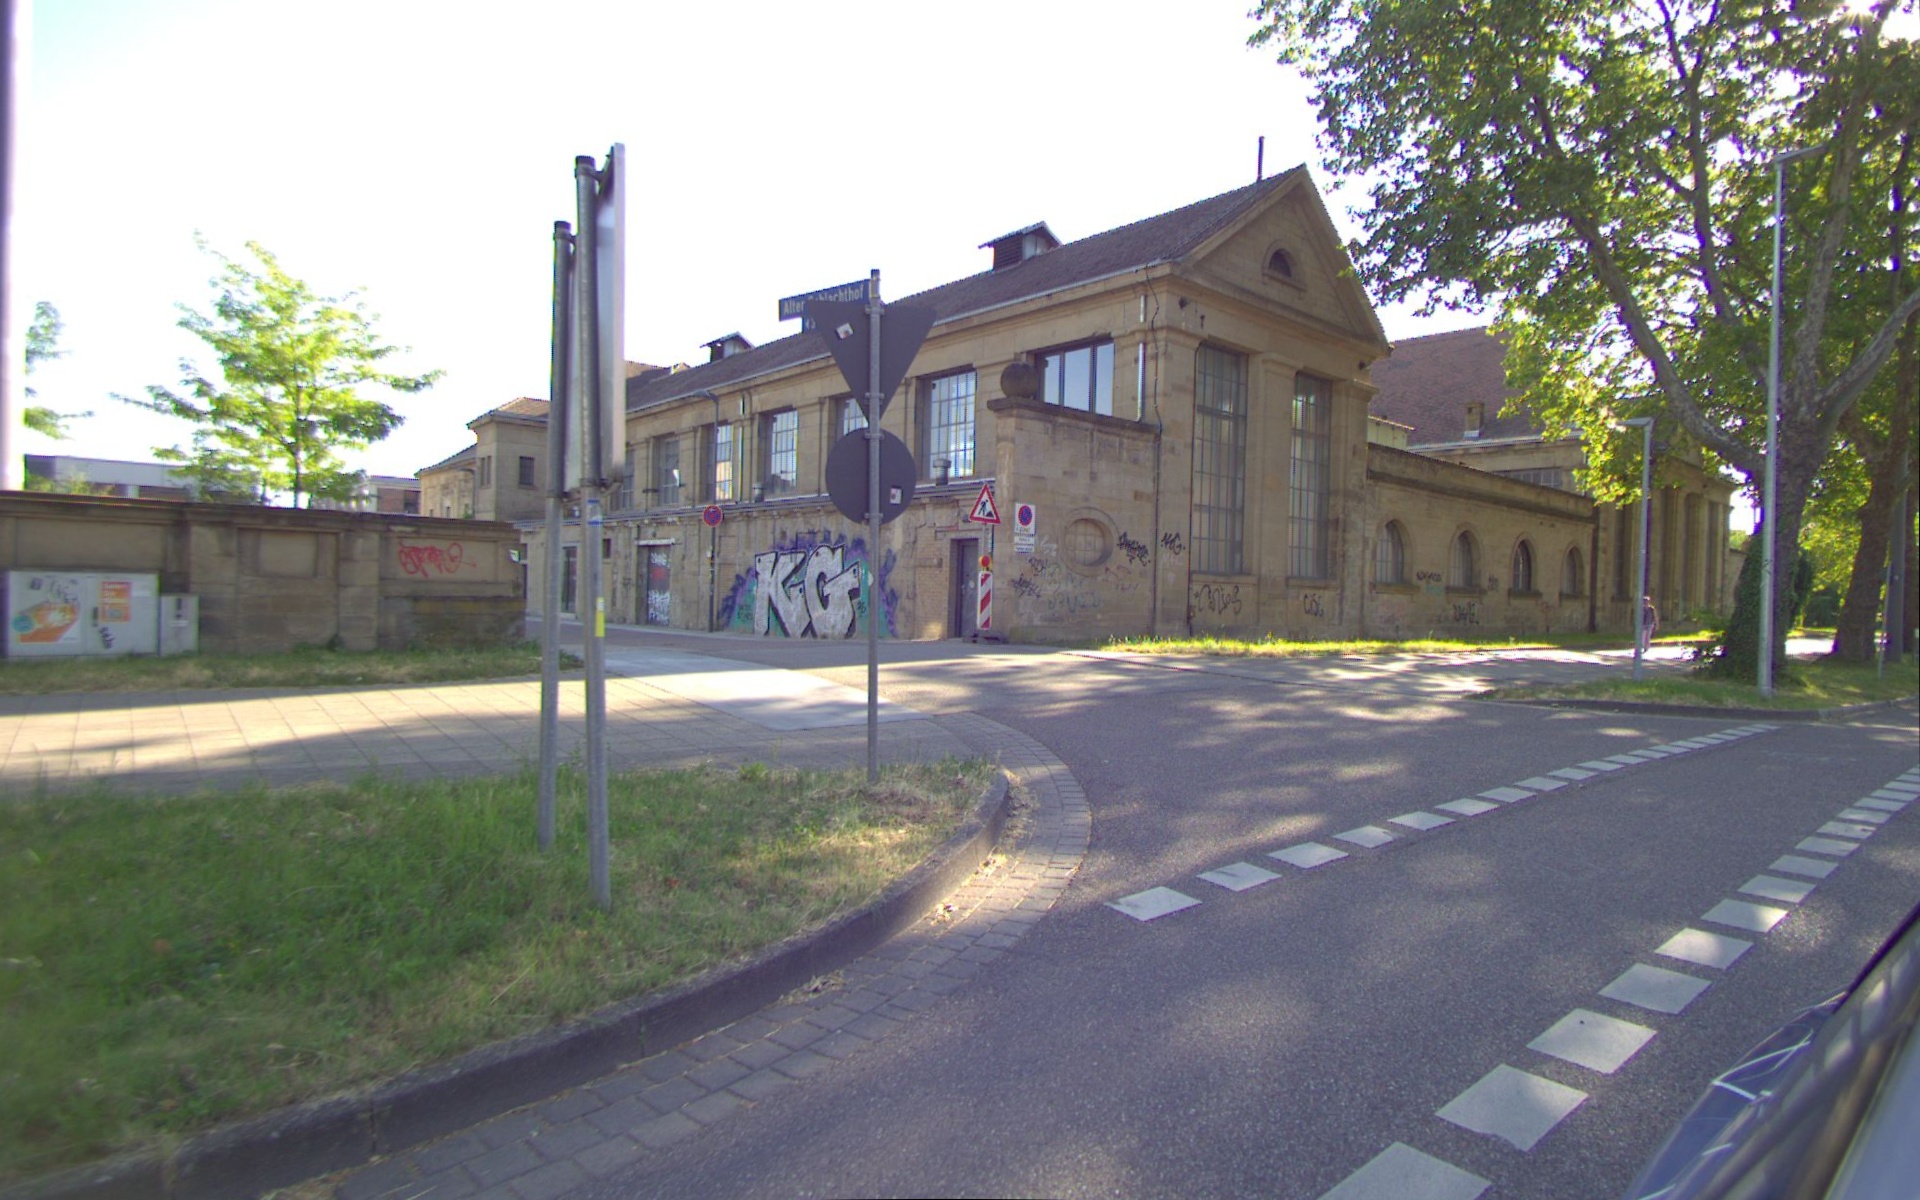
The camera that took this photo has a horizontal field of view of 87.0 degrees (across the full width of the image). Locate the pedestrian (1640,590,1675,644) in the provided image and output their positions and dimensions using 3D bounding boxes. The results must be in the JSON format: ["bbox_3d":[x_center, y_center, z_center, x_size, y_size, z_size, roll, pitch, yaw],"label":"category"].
[{"bbox_3d":[22.134,0.534,32.124,0.859,1.683,0.671,1,2,-42],"label":"pedestrian"}]
